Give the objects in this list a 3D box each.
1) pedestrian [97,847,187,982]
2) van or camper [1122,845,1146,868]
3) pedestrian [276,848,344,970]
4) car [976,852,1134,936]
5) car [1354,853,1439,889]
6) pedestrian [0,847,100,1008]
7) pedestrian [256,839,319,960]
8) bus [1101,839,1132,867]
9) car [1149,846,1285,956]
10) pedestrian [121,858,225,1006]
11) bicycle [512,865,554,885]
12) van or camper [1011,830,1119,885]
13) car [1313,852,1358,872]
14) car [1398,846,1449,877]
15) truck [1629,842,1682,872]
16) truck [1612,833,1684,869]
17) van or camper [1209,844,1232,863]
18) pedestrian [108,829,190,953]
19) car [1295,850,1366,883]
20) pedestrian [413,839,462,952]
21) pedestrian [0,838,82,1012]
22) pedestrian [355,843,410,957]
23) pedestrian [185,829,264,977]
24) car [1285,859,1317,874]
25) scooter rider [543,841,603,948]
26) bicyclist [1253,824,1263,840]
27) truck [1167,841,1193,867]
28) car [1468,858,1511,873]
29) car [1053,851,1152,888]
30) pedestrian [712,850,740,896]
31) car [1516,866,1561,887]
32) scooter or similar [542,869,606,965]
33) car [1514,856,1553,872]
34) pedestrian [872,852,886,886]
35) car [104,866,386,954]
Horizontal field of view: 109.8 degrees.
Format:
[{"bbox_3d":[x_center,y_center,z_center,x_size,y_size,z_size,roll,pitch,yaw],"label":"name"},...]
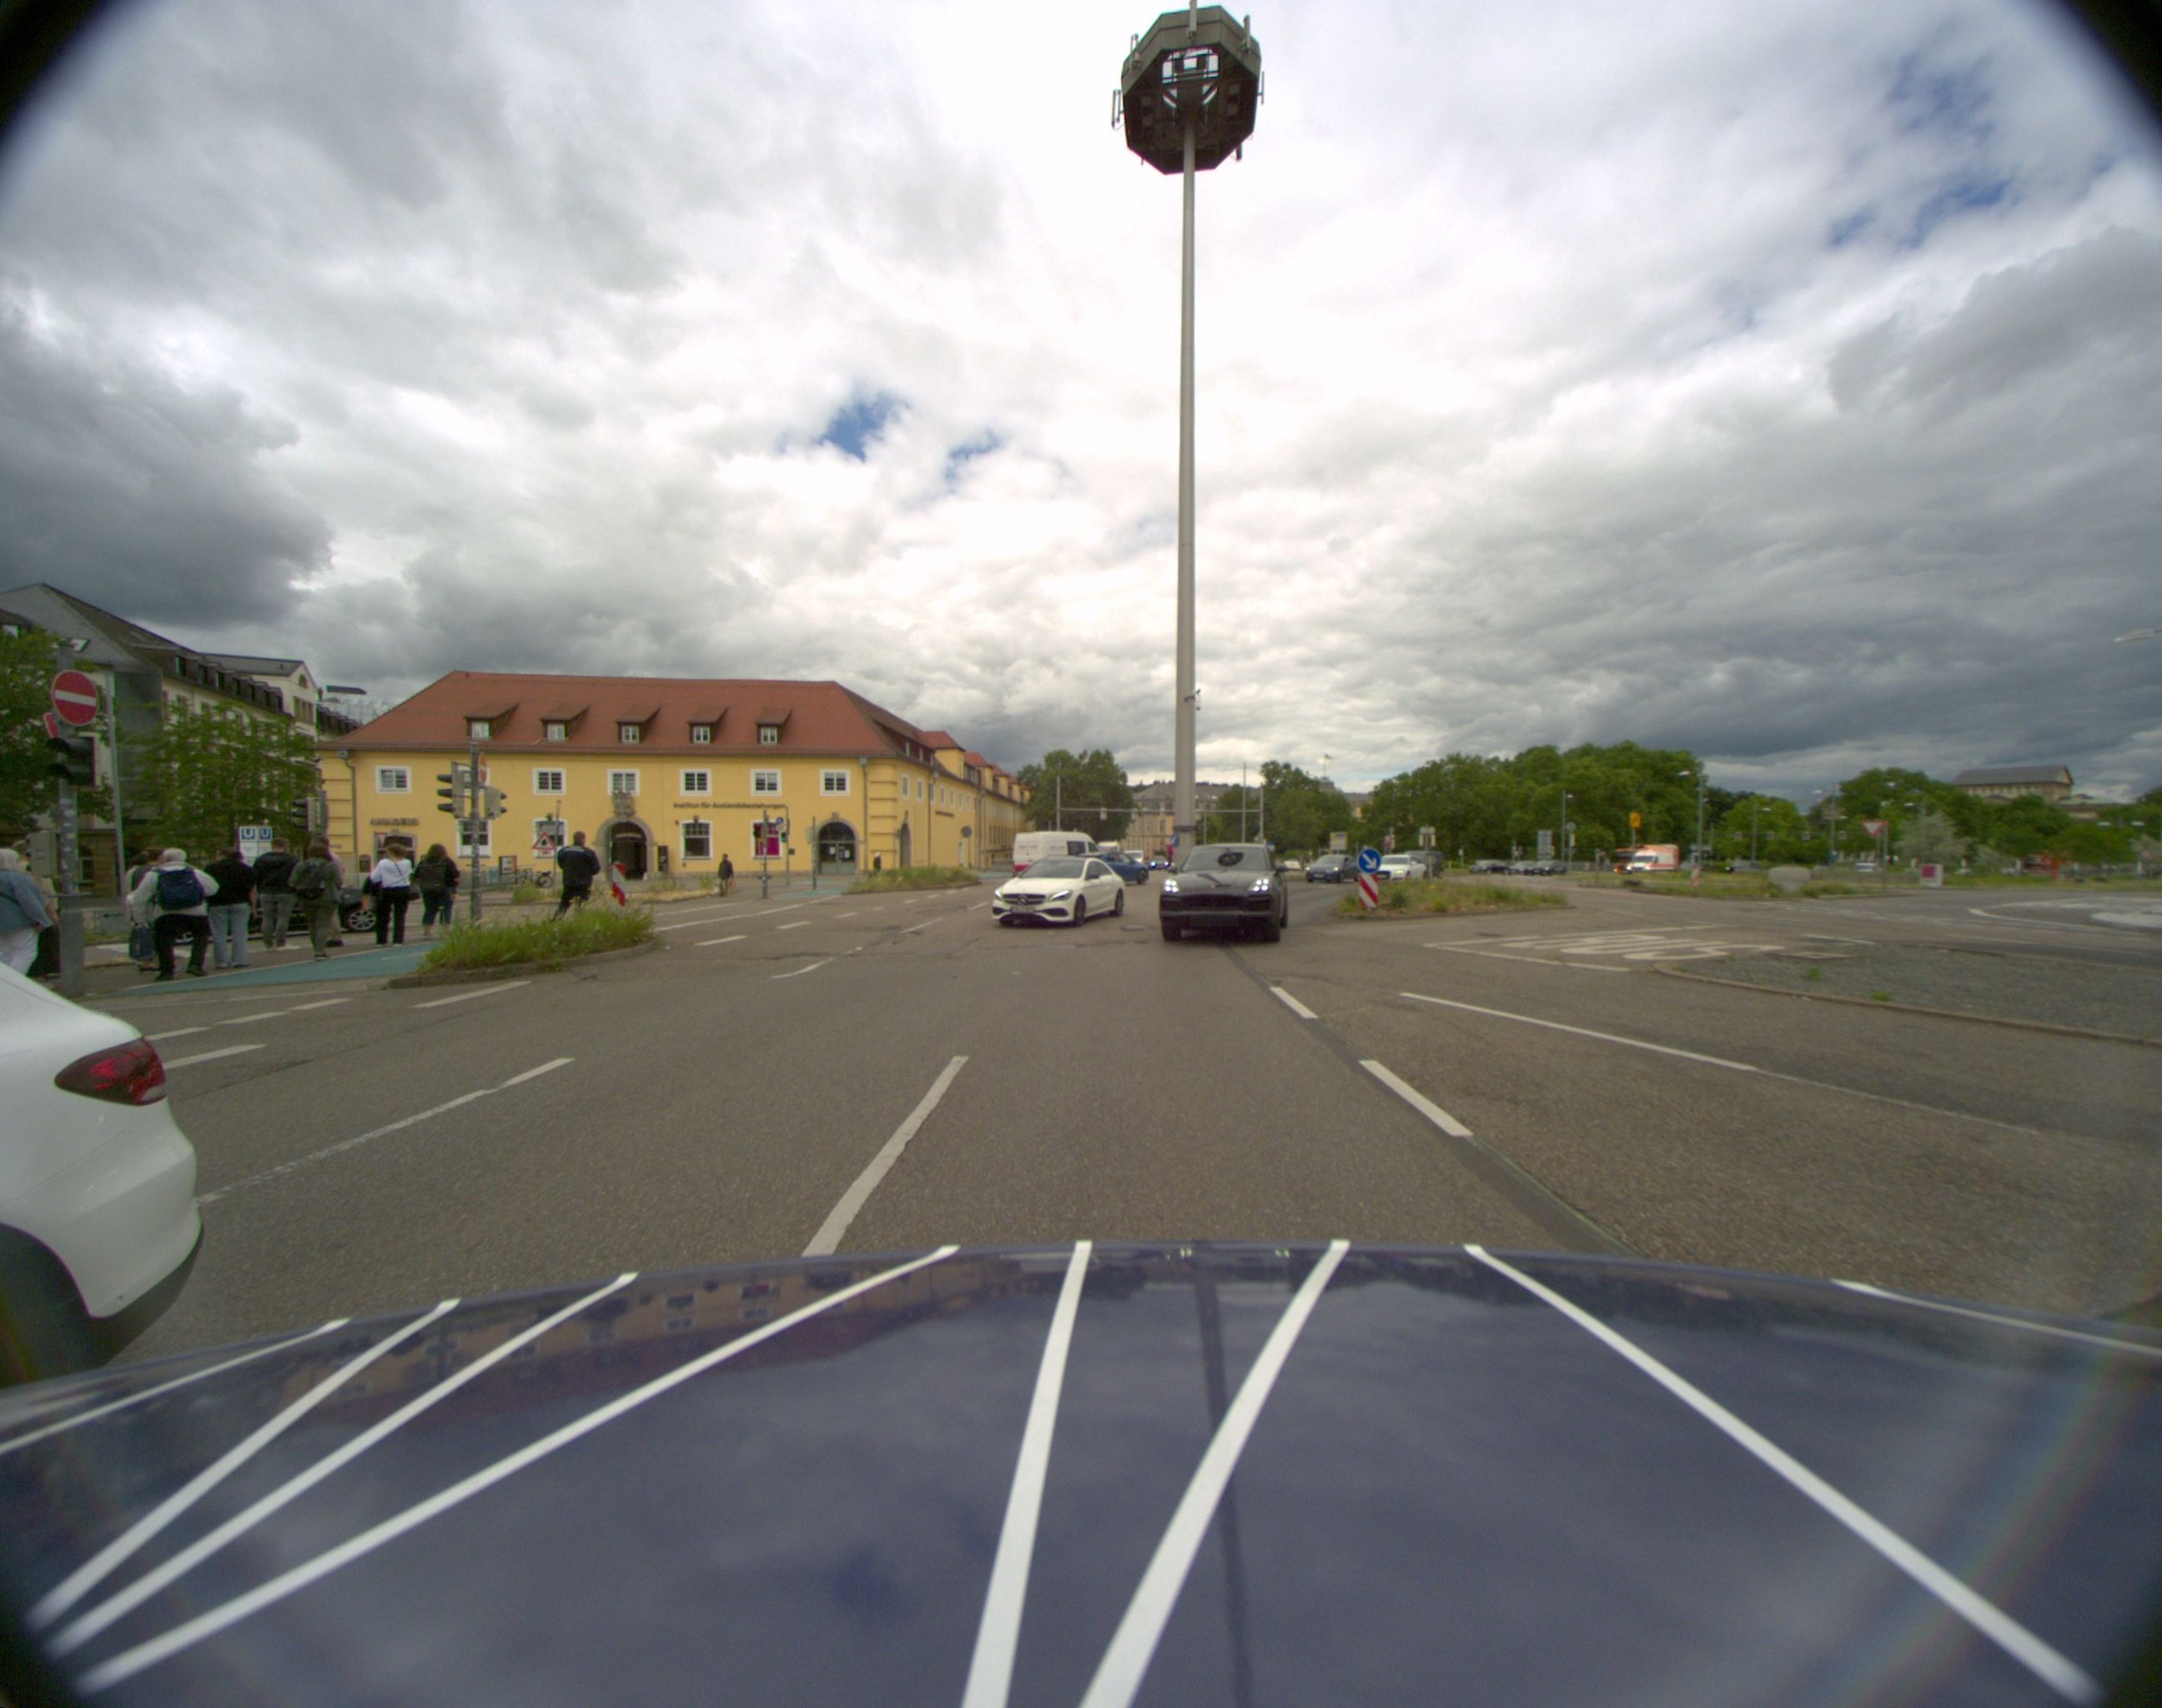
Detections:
[{"bbox_3d":[-12.286,0.764,9.965,0.612,1.686,0.641,-2,1,-42],"label":"pedestrian"},{"bbox_3d":[5.653,0.259,80.562,2.372,2.249,6.290,1,0,5],"label":"van or camper"},{"bbox_3d":[-11.106,0.762,10.961,0.612,1.686,0.641,-2,1,-42],"label":"pedestrian"},{"bbox_3d":[-0.381,0.760,16.871,1.867,1.560,4.658,-1,1,20],"label":"car"},{"bbox_3d":[15.039,0.776,36.101,4.421,1.599,2.091,0,-1,-43],"label":"car"},{"bbox_3d":[-12.211,0.823,8.924,0.671,1.805,0.701,-2,1,-40],"label":"pedestrian"},{"bbox_3d":[-12.868,0.710,12.340,0.612,1.899,0.641,-2,1,-42],"label":"pedestrian"},{"bbox_3d":[4.253,-0.108,94.191,3.433,3.185,13.063,0,0,1],"label":"bus"},{"bbox_3d":[2.660,0.723,13.924,2.002,1.628,5.026,-1,0,14],"label":"car"},{"bbox_3d":[-11.329,0.930,9.512,0.671,1.751,0.761,-2,1,-40],"label":"pedestrian"},{"bbox_3d":[-30.414,1.177,42.199,1.772,1.079,0.620,-1,1,-9],"label":"bicycle"},{"bbox_3d":[-0.659,0.140,37.389,2.141,2.463,6.174,-1,0,34],"label":"van or camper"},{"bbox_3d":[20.387,0.669,60.655,1.994,1.495,5.051,0,-1,36],"label":"car"},{"bbox_3d":[23.133,0.457,51.267,1.855,1.976,4.652,2,2,40],"label":"car"},{"bbox_3d":[55.353,0.306,73.206,5.798,2.767,1.952,0,0,-30],"label":"truck"},{"bbox_3d":[60.006,-0.259,80.333,9.194,3.595,2.721,0,0,-31],"label":"truck"},{"bbox_3d":[15.100,-0.073,82.381,1.864,1.905,4.714,-1,0,3],"label":"van or camper"},{"bbox_3d":[-13.165,0.497,10.753,0.612,1.686,0.641,-2,1,-42],"label":"pedestrian"},{"bbox_3d":[12.987,0.598,39.483,1.994,1.592,4.008,0,1,43],"label":"car"},{"bbox_3d":[-11.474,0.712,13.558,0.612,1.944,0.641,-2,1,-39],"label":"pedestrian"},{"bbox_3d":[-11.702,0.761,8.369,0.671,1.852,0.701,-2,1,-40],"label":"pedestrian"},{"bbox_3d":[-11.374,0.723,12.381,0.612,1.786,0.641,-2,1,-42],"label":"pedestrian"},{"bbox_3d":[-11.749,0.643,10.447,0.612,1.953,0.641,-2,1,-42],"label":"pedestrian"},{"bbox_3d":[20.431,1.132,70.462,1.724,1.410,3.655,0,0,36],"label":"car"},{"bbox_3d":[-8.352,0.643,12.496,0.767,1.684,0.744,-1,1,-35],"label":"scooter rider"},{"bbox_3d":[17.461,-2.164,75.054,0.723,1.630,0.504,1,1,-23],"label":"bicyclist"},{"bbox_3d":[13.576,0.016,104.778,2.789,3.469,8.351,1,0,2],"label":"truck"},{"bbox_3d":[37.967,1.020,70.543,3.861,1.266,1.773,-1,1,-31],"label":"car"},{"bbox_3d":[1.030,0.642,33.340,1.943,1.474,4.637,-2,-1,37],"label":"car"},{"bbox_3d":[-14.050,0.739,30.112,0.828,1.779,0.751,-1,1,-12],"label":"pedestrian"},{"bbox_3d":[40.149,1.980,66.702,3.746,1.729,1.856,0,0,-32],"label":"car"},{"bbox_3d":[-8.270,0.960,12.376,0.778,1.398,1.883,-1,1,-35],"label":"scooter or similar"},{"bbox_3d":[43.859,0.913,73.601,3.589,1.455,1.773,-1,1,-31],"label":"car"},{"bbox_3d":[-11.509,0.856,43.352,0.640,1.884,0.557,0,1,-30],"label":"pedestrian"},{"bbox_3d":[-17.321,1.063,15.940,1.745,1.493,3.807,0,1,40],"label":"car"}]
